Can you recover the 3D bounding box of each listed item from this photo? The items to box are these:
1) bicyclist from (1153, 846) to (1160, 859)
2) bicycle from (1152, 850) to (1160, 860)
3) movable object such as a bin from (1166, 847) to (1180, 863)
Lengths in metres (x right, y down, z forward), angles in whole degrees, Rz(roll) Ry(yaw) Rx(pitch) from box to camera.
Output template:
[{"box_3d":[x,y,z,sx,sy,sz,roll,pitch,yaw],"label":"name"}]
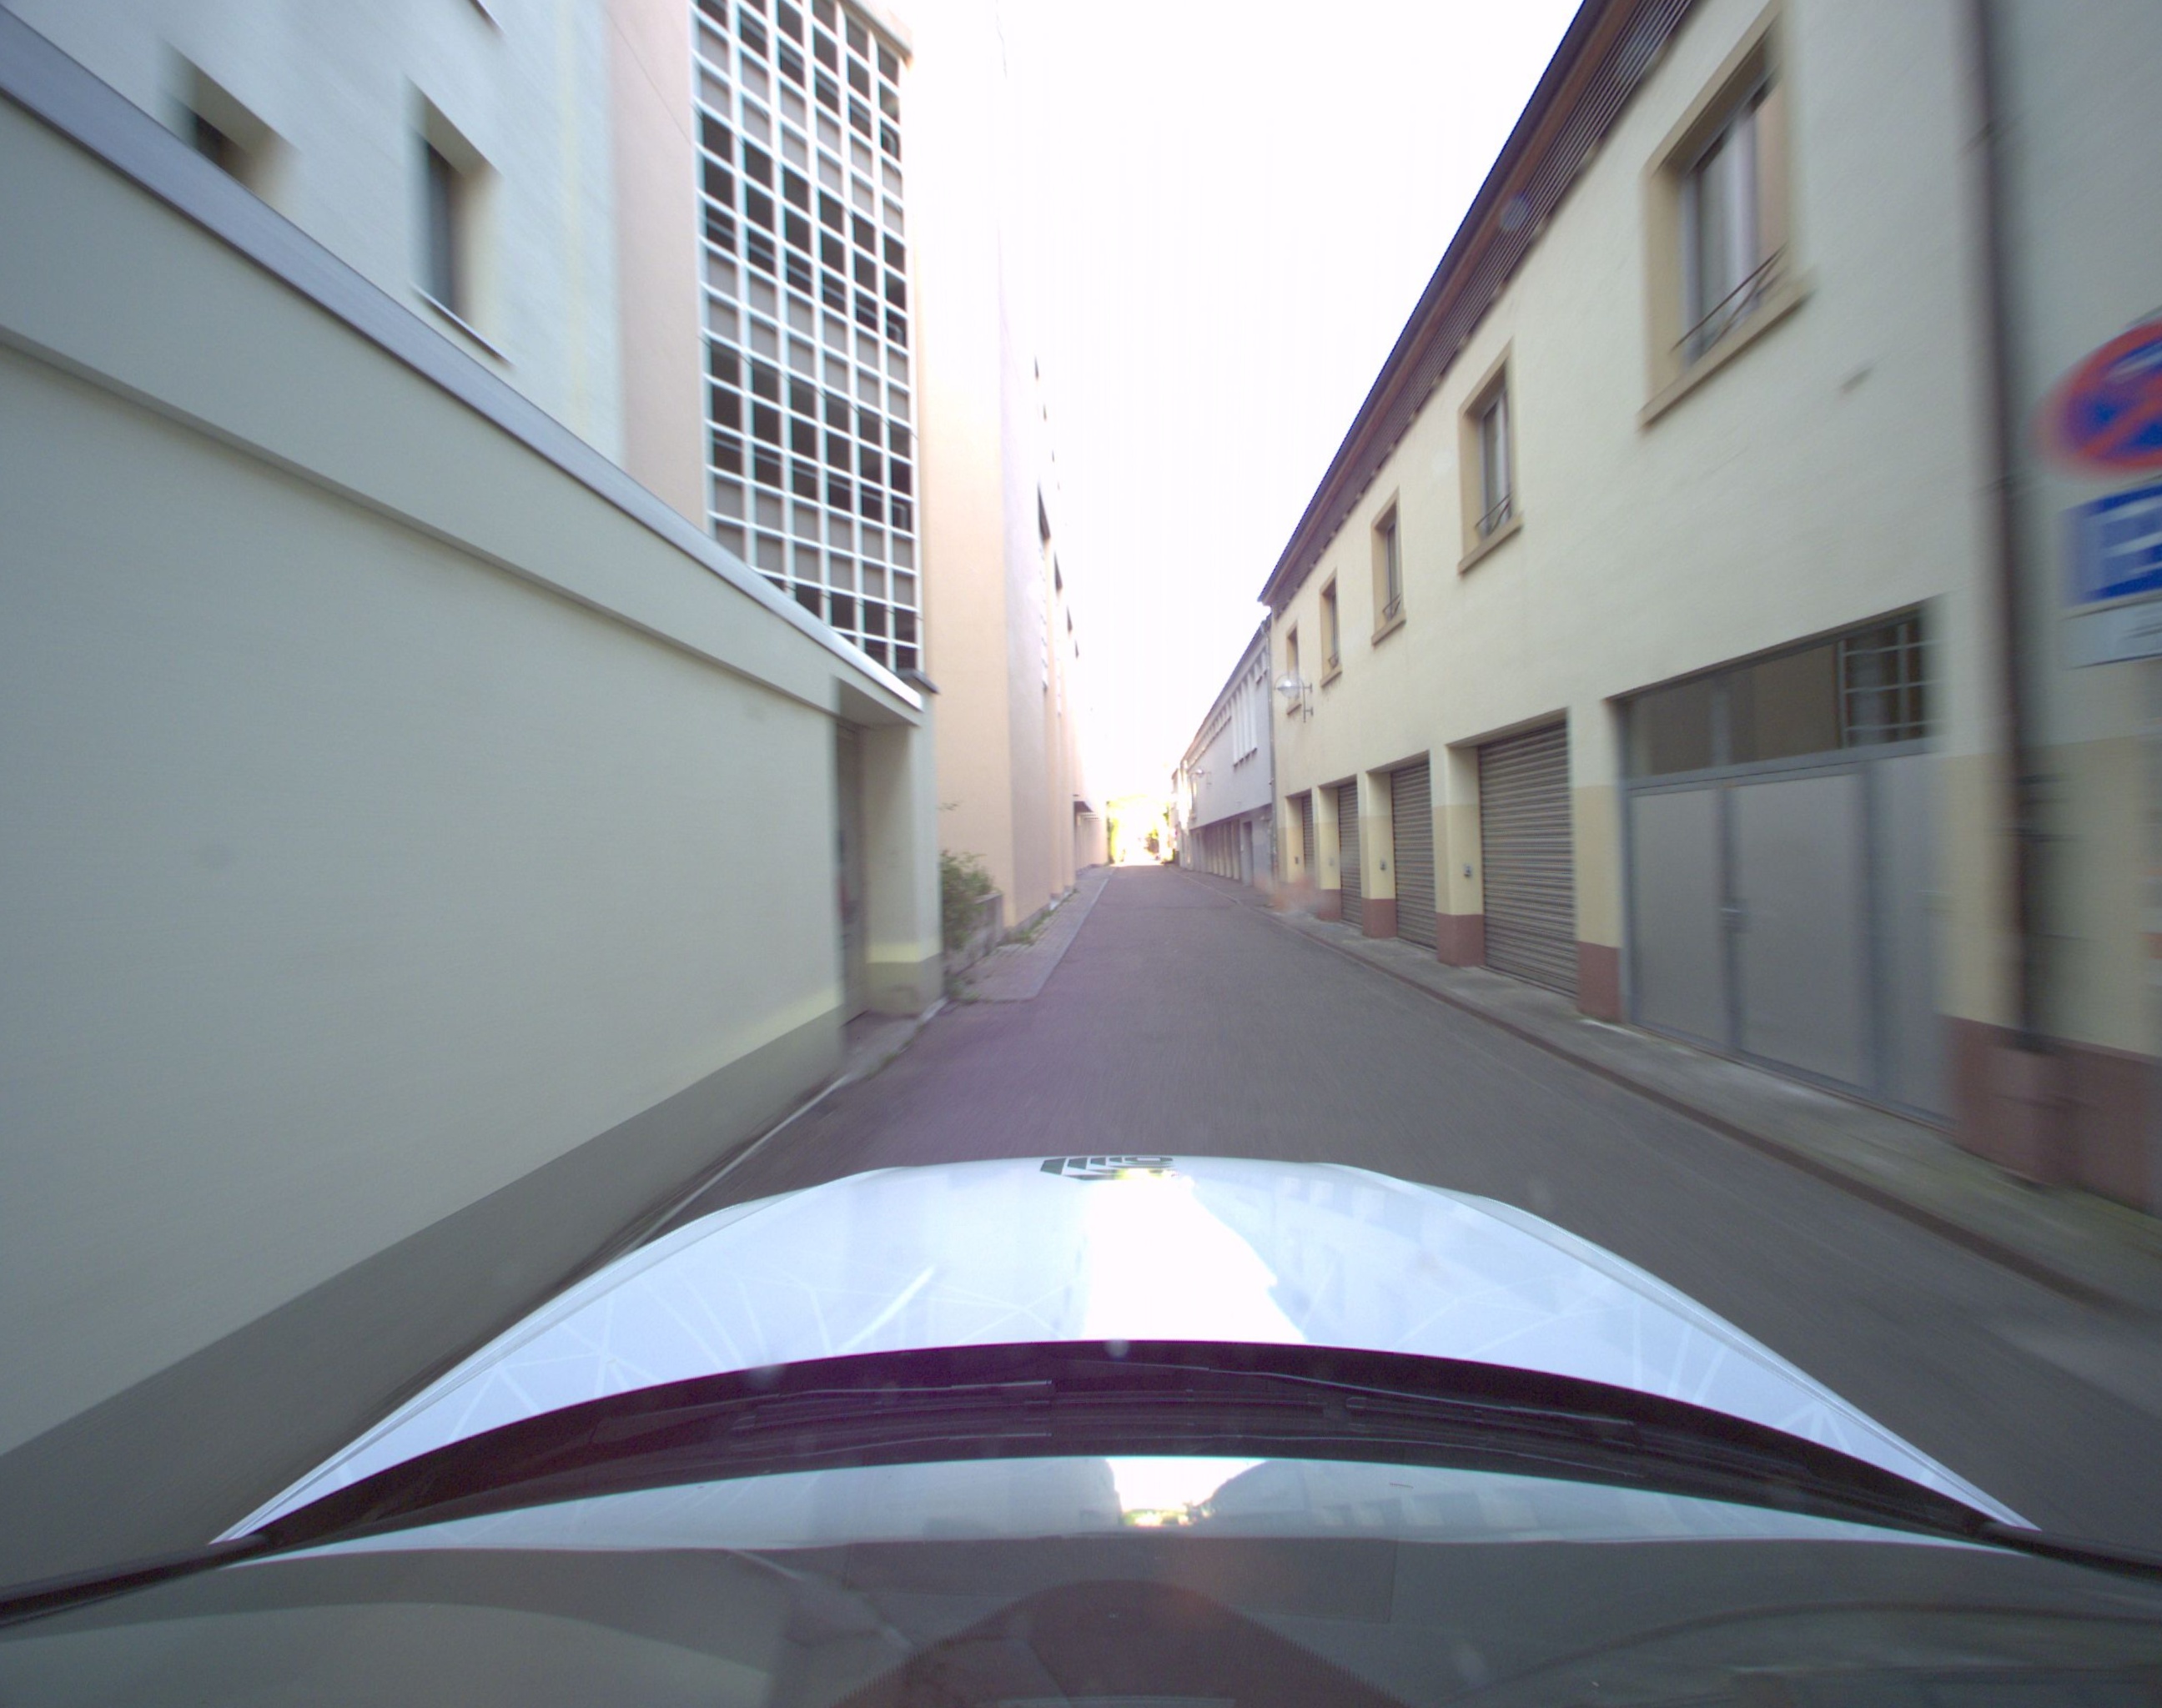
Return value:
[{"box_3d":[9.532,-0.188,103.112,0.770,1.565,0.693,0,0,0],"label":"bicyclist"},{"box_3d":[9.495,0.129,103.066,0.770,1.261,2.217,0,0,1],"label":"bicycle"},{"box_3d":[7.993,0.092,70.967,0.935,1.366,1.341,-4,0,-2],"label":"movable object such as a bin"}]
